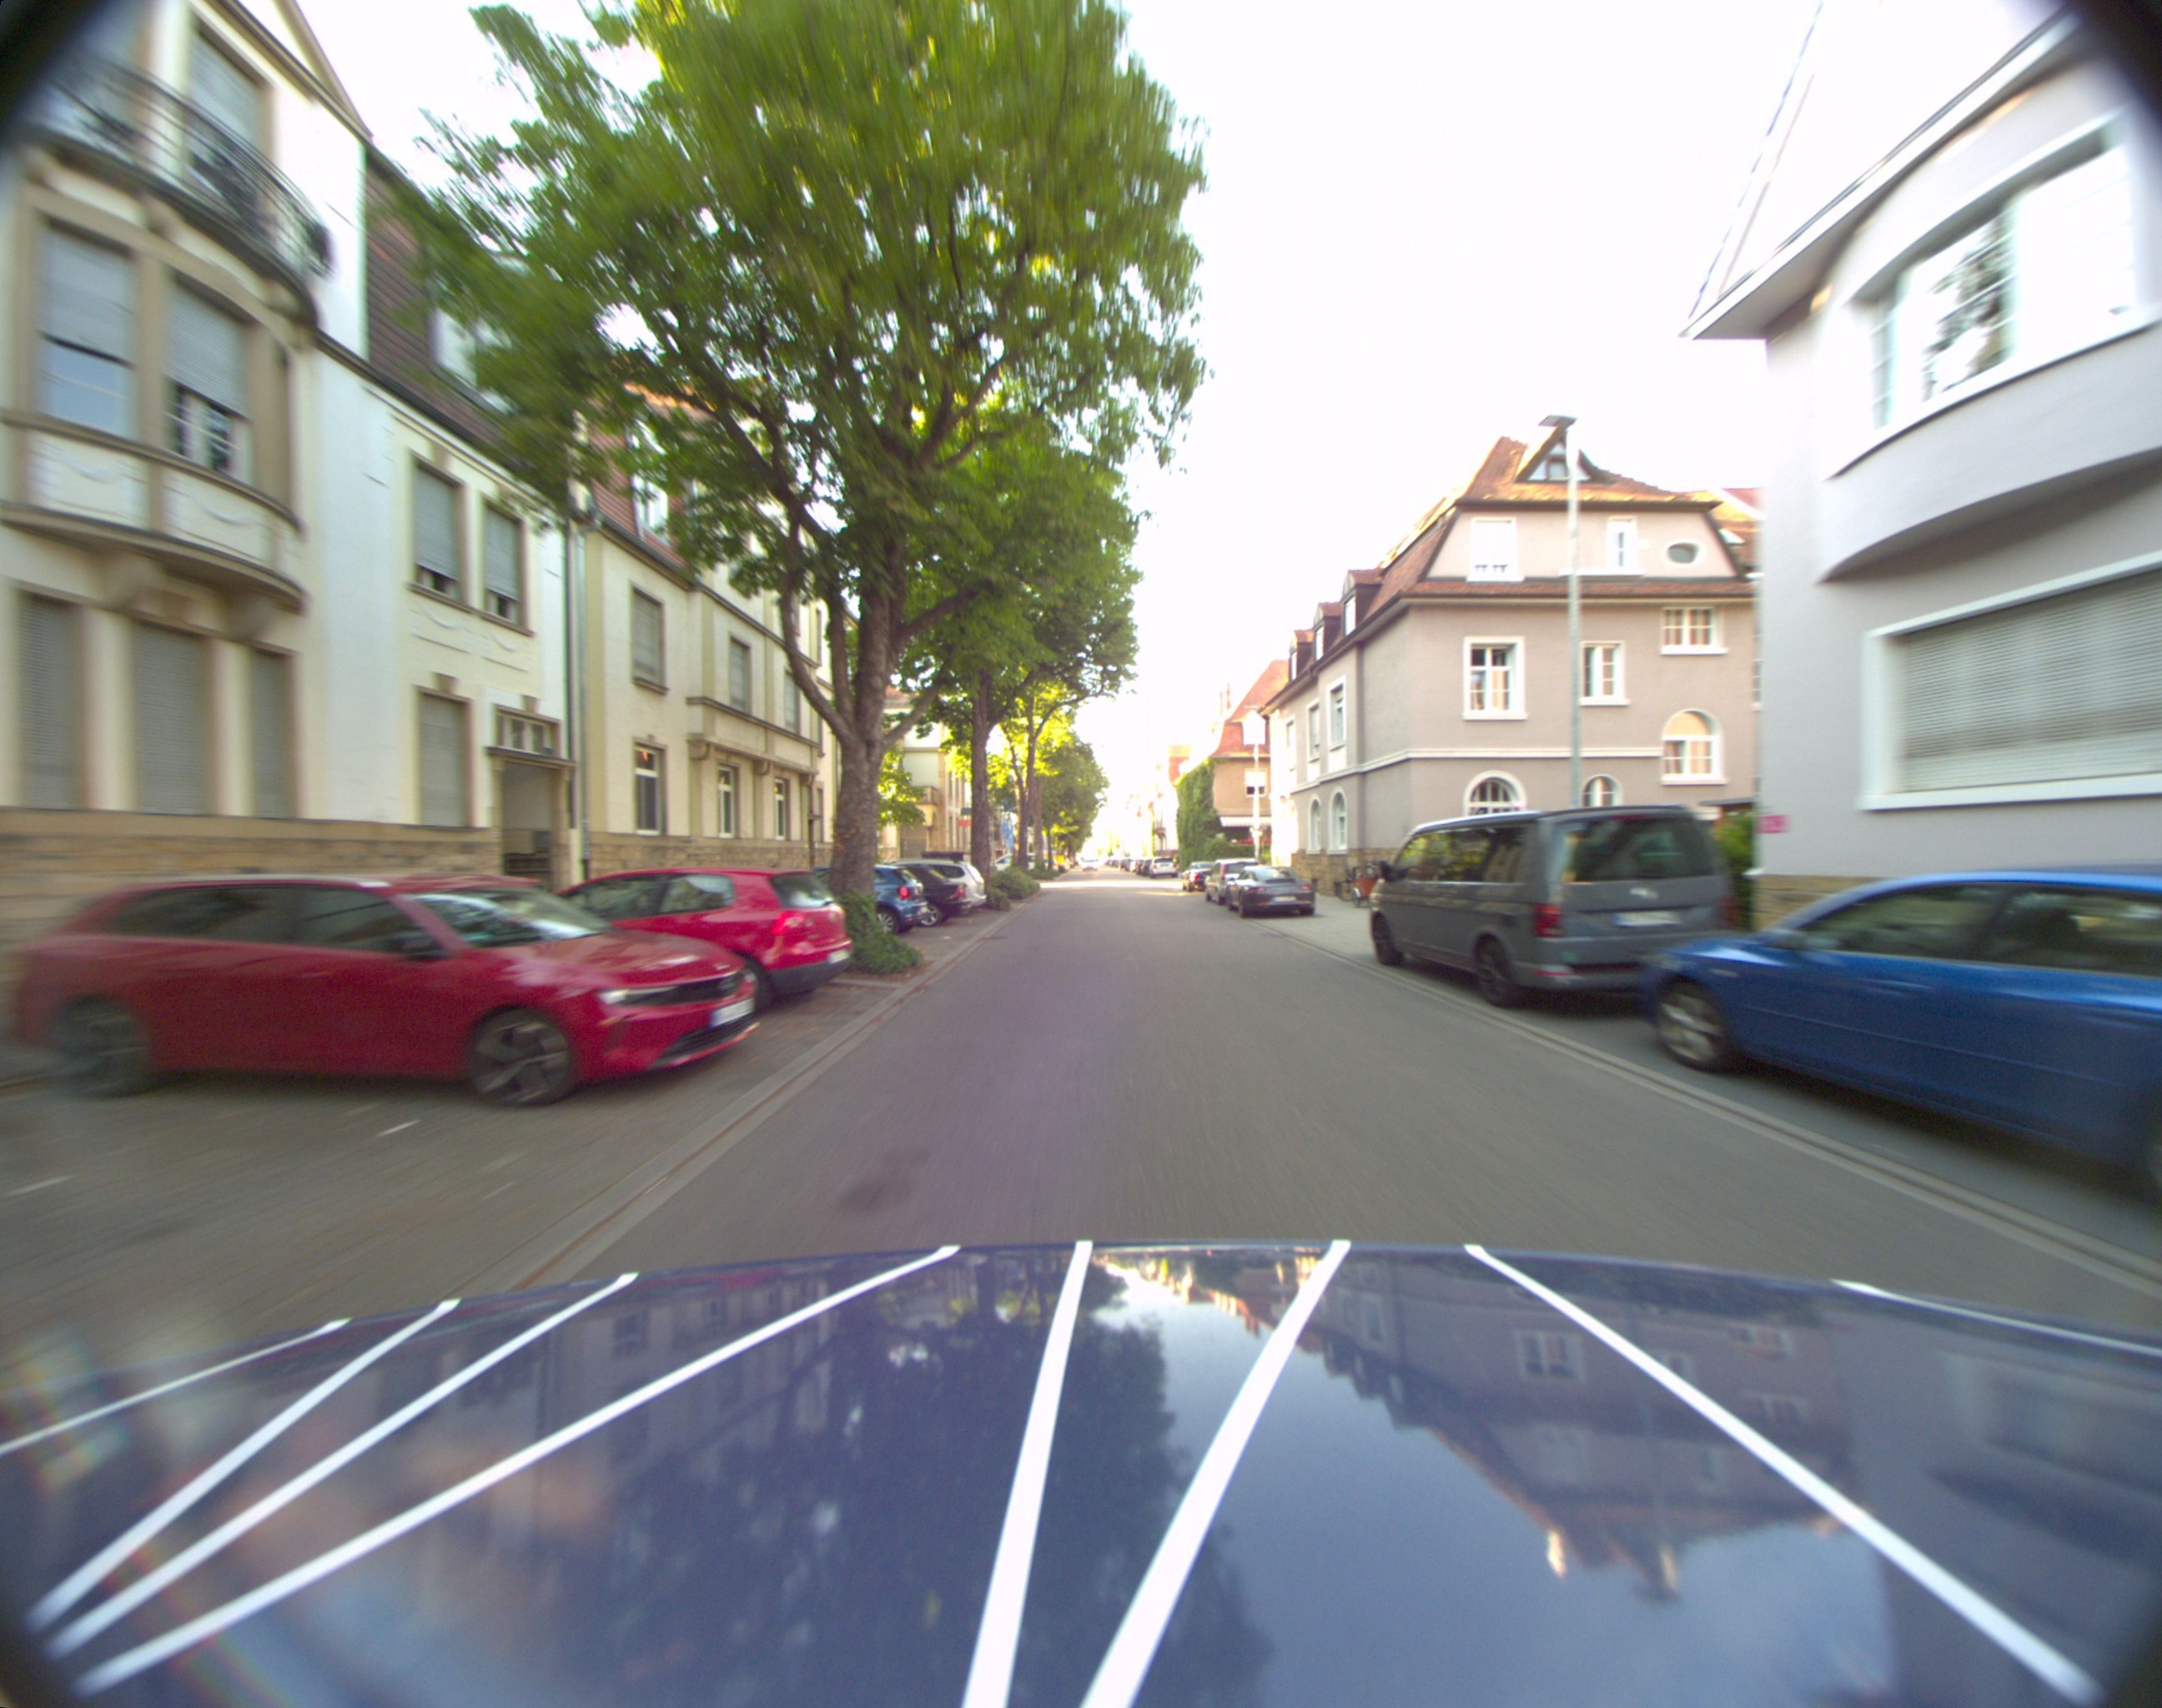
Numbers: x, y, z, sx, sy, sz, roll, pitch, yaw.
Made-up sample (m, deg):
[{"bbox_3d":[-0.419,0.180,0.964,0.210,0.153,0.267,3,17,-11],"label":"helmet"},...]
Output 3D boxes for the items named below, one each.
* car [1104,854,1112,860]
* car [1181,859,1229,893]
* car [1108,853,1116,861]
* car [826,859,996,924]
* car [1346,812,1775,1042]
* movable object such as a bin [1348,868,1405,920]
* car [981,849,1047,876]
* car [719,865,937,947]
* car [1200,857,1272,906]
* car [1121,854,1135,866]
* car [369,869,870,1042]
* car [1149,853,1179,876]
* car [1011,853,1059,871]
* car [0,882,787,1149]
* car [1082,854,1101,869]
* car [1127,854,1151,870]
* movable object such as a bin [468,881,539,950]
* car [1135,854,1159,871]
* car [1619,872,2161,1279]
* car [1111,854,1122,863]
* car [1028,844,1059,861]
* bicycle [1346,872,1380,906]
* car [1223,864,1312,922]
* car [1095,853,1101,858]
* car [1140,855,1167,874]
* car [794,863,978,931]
[{"bbox_3d":[6.643,0.733,186.223,1.723,1.386,3.908,-2,0,2],"label":"car"},{"bbox_3d":[5.485,0.932,33.996,1.657,1.316,4.046,-2,1,3],"label":"car"},{"bbox_3d":[6.494,0.577,158.336,1.654,1.474,3.429,-2,0,2],"label":"car"},{"bbox_3d":[-4.476,0.977,20.413,4.157,1.567,1.712,-1,1,0],"label":"car"},{"bbox_3d":[5.018,0.637,9.036,1.987,1.936,4.851,-2,0,0],"label":"car"},{"bbox_3d":[7.893,1.030,20.364,0.723,1.276,2.096,-1,0,1],"label":"movable object such as a bin"},{"bbox_3d":[-4.601,0.600,52.631,4.325,1.796,2.000,1,0,0],"label":"car"},{"bbox_3d":[-4.945,1.001,15.177,3.802,1.474,1.560,-1,1,1],"label":"car"},{"bbox_3d":[5.144,0.868,25.623,1.657,1.437,3.960,-2,0,1],"label":"car"},{"bbox_3d":[6.112,0.794,99.431,1.657,1.438,4.005,-2,0,1],"label":"car"},{"bbox_3d":[-4.612,0.953,8.028,4.199,1.467,1.852,1,1,3],"label":"car"},{"bbox_3d":[5.609,0.713,51.756,1.708,1.452,3.918,-2,0,2],"label":"car"},{"bbox_3d":[-4.093,0.740,68.586,4.154,1.526,1.687,1,0,3],"label":"car"},{"bbox_3d":[-4.728,0.997,5.538,4.421,1.411,1.877,1,1,3],"label":"car"},{"bbox_3d":[1.240,0.818,89.632,2.098,1.700,4.606,-1,0,1],"label":"car"},{"bbox_3d":[5.719,0.782,75.401,1.797,1.453,4.776,-2,0,-2],"label":"car"},{"bbox_3d":[-9.428,0.995,12.421,0.702,1.043,0.541,3,0,0],"label":"movable object such as a bin"},{"bbox_3d":[5.599,0.706,64.870,1.653,1.412,4.098,-2,0,1],"label":"car"},{"bbox_3d":[5.026,0.898,3.857,1.657,1.438,4.238,-2,0,2],"label":"car"},{"bbox_3d":[6.264,0.759,133.411,1.657,1.445,4.631,-2,0,1],"label":"car"},{"bbox_3d":[-6.253,-0.235,125.918,5.109,2.885,2.075,0,0,-2],"label":"car"},{"bbox_3d":[8.258,1.006,22.312,0.395,0.931,1.722,-1,0,1],"label":"bicycle"},{"bbox_3d":[4.869,0.964,20.376,1.535,1.311,4.228,-2,0,3],"label":"car"},{"bbox_3d":[4.729,0.500,211.414,1.776,1.440,4.000,0,0,0],"label":"car"},{"bbox_3d":[5.560,0.783,58.709,1.690,1.371,3.721,-2,0,1],"label":"car"},{"bbox_3d":[-4.448,0.970,17.787,3.802,1.429,1.817,-1,1,0],"label":"car"}]
